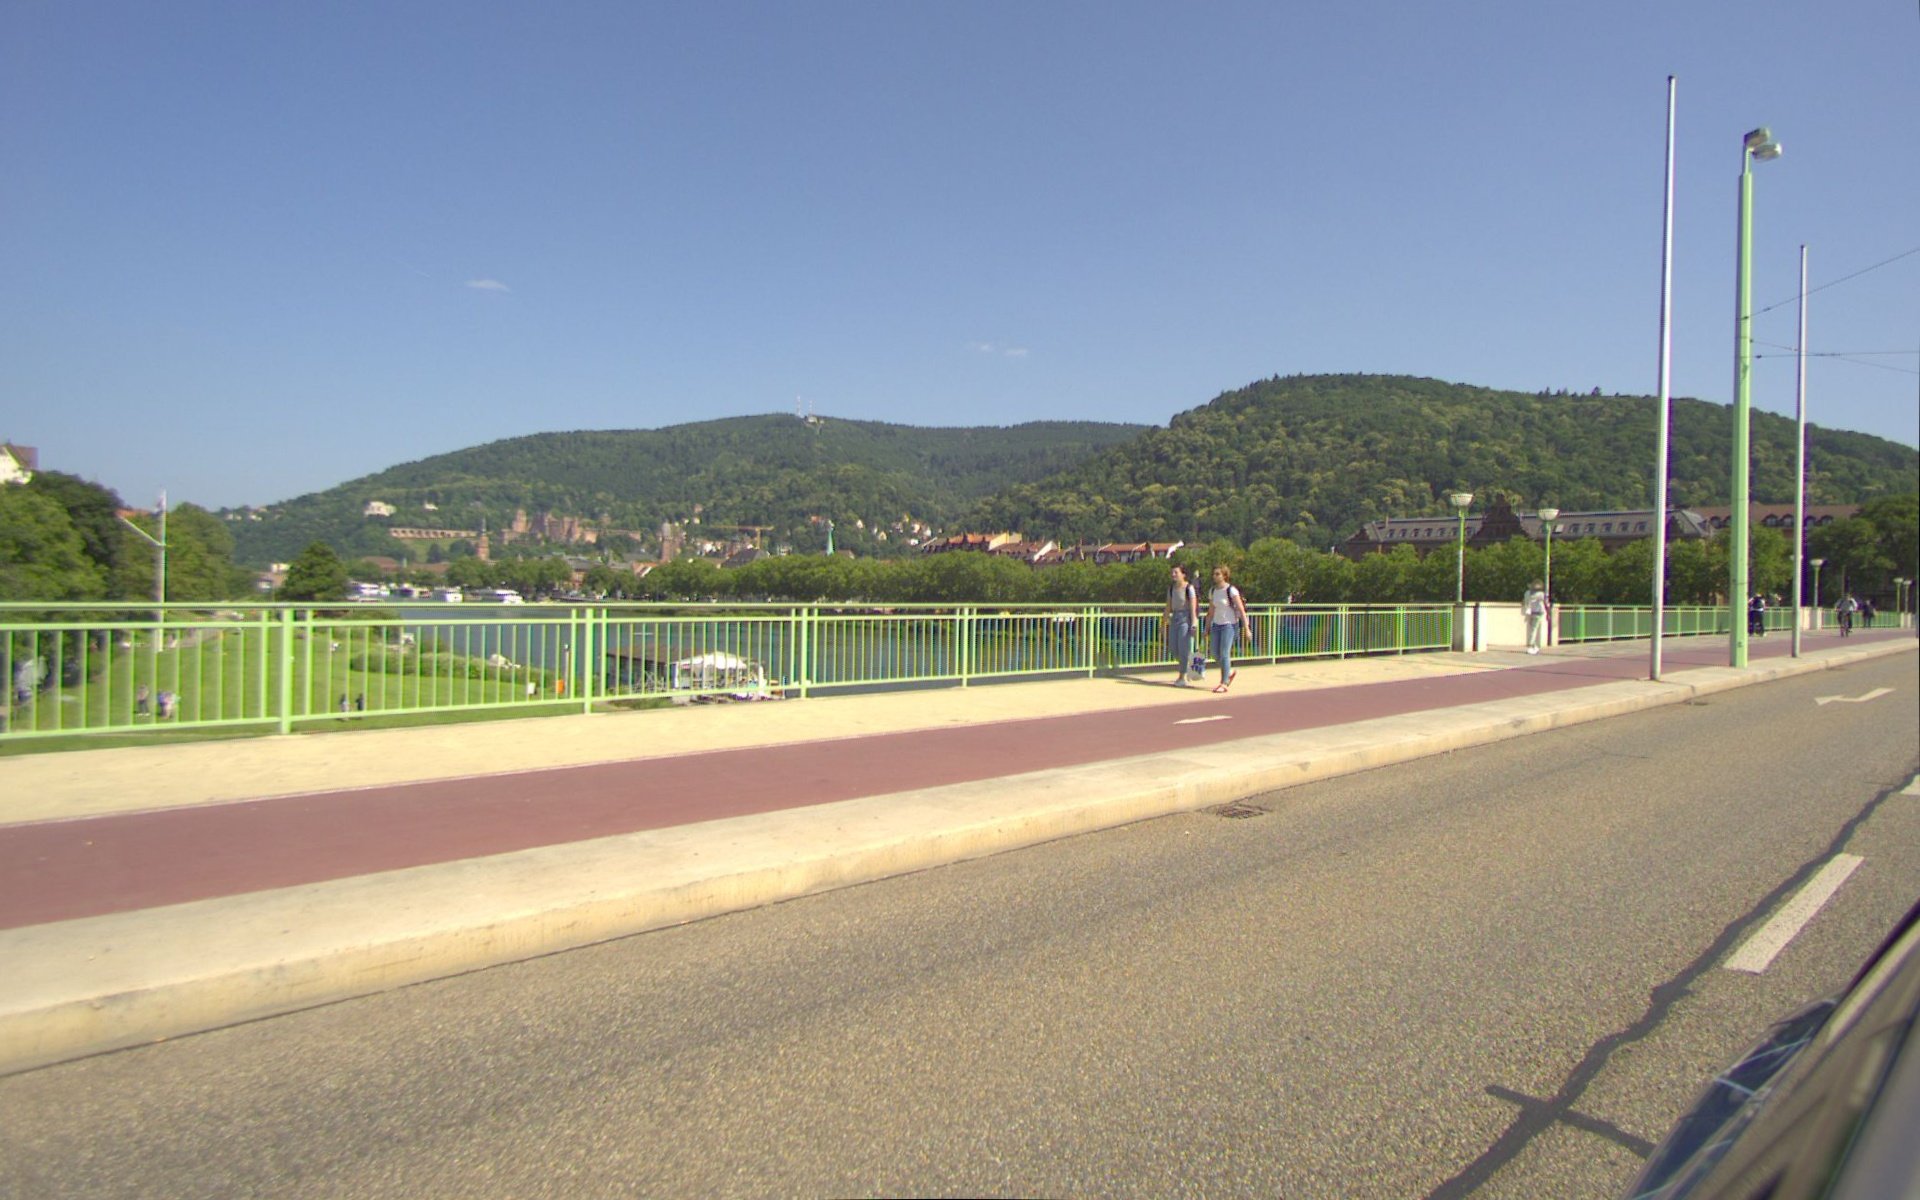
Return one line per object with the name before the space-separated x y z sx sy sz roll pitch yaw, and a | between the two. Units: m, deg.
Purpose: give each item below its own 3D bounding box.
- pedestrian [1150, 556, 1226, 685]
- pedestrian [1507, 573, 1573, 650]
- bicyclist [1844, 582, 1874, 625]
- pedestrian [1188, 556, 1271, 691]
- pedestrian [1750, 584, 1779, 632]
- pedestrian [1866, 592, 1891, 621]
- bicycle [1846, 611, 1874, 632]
pedestrian | 3.089 0.258 13.716 0.733 1.679 0.668 0 2 -41
pedestrian | 13.126 0.242 22.905 1.063 1.683 0.949 0 2 -41
bicyclist | 35.728 0.136 40.216 0.829 1.685 0.731 1 1 -40
pedestrian | 3.501 0.281 13.131 0.811 1.679 0.664 0 2 -41
pedestrian | 29.797 0.278 37.476 0.844 1.727 0.664 0 2 -41
pedestrian | 54.833 0.403 60.422 1.063 1.683 0.949 0 2 -41
bicycle | 35.924 0.845 40.394 1.834 0.775 0.595 0 2 -41
